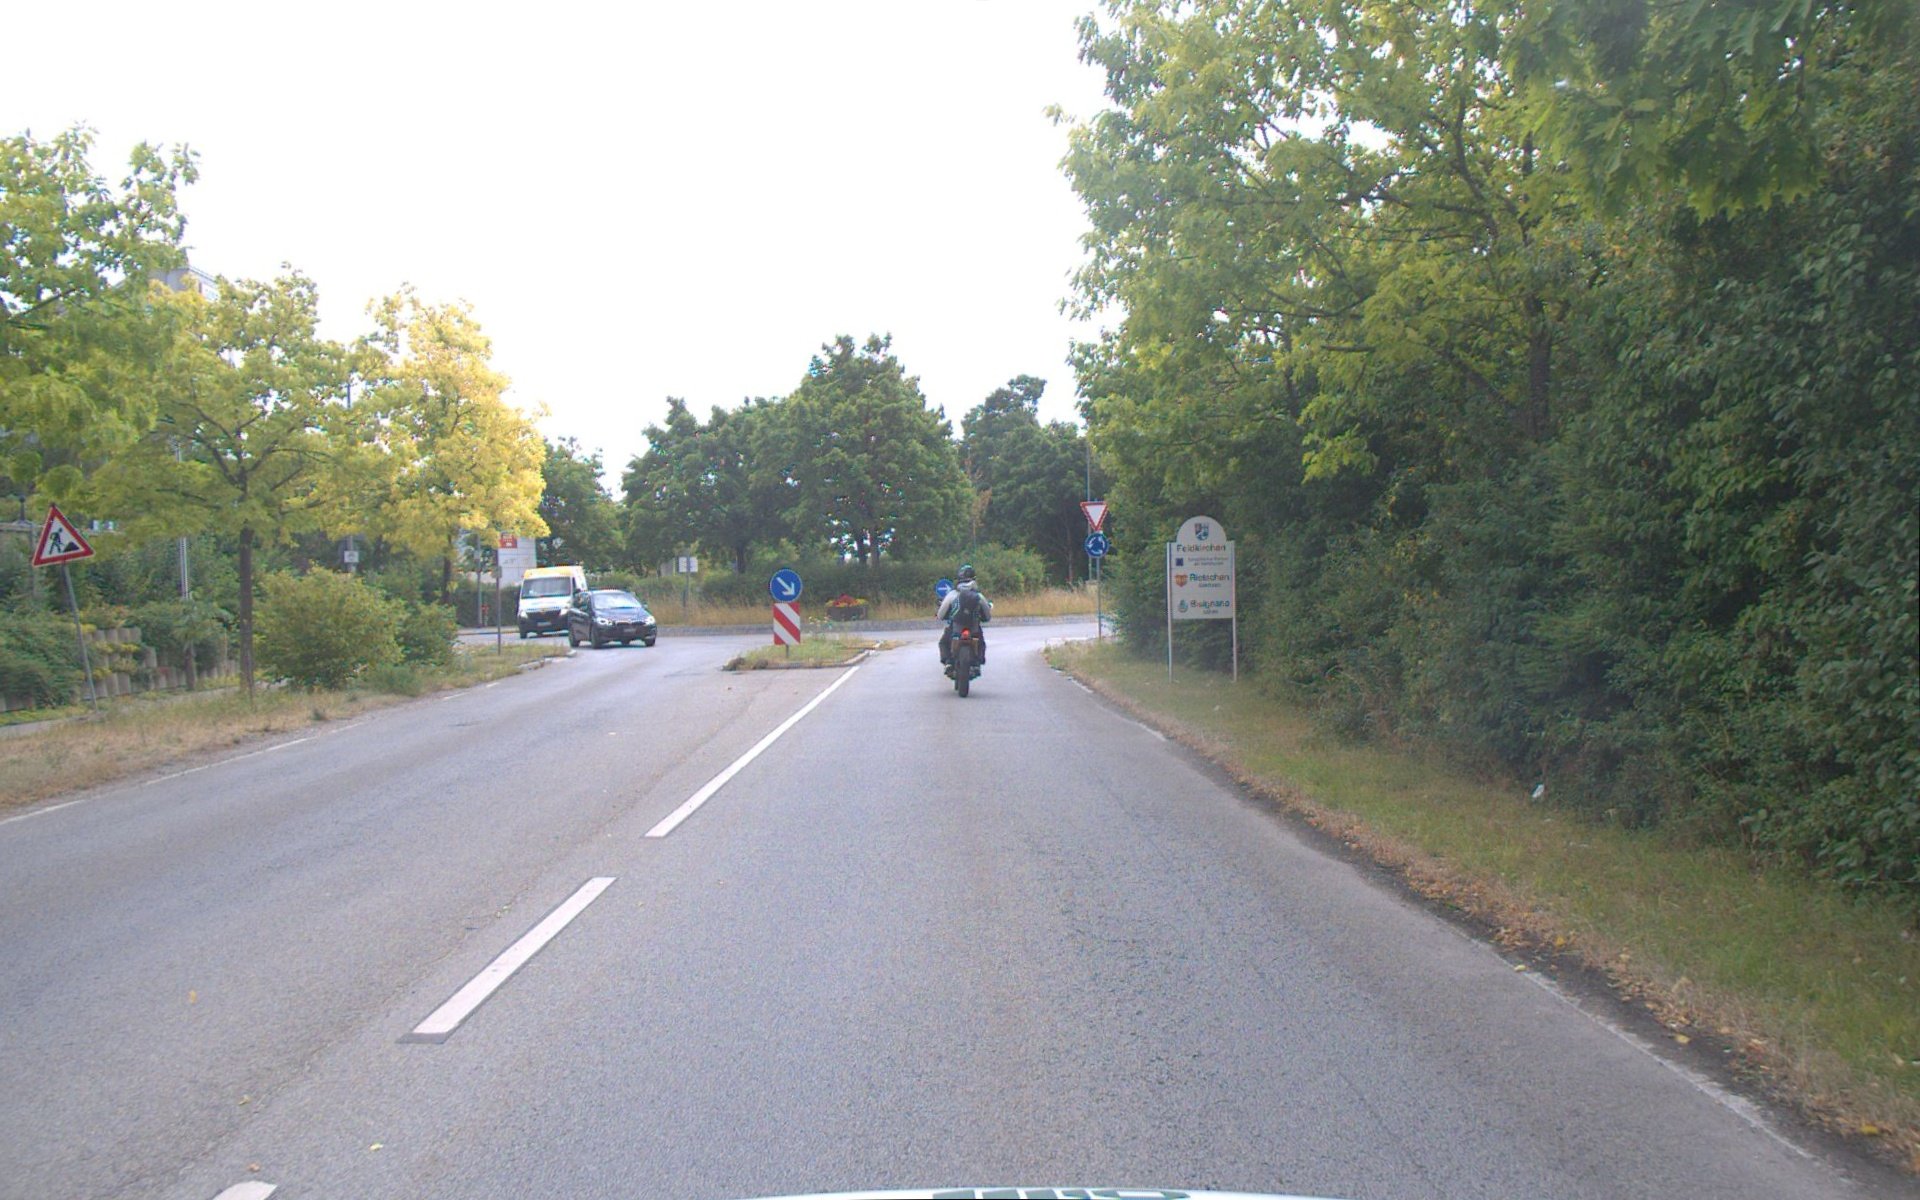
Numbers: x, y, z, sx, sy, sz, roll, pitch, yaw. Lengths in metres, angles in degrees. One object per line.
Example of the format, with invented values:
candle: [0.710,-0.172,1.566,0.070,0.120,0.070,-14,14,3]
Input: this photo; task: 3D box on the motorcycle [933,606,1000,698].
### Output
motorcycle: [0.083,0.702,23.336,0.878,1.178,2.620,-1,0,0]

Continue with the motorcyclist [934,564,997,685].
motorcyclist: [0.075,0.333,23.466,0.843,1.652,1.190,-1,0,0]

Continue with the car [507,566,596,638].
car: [-14.959,0.029,60.882,2.119,2.494,5.439,-2,1,-3]

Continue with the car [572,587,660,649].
car: [-9.999,0.512,47.884,1.714,1.613,4.327,-3,1,-22]
